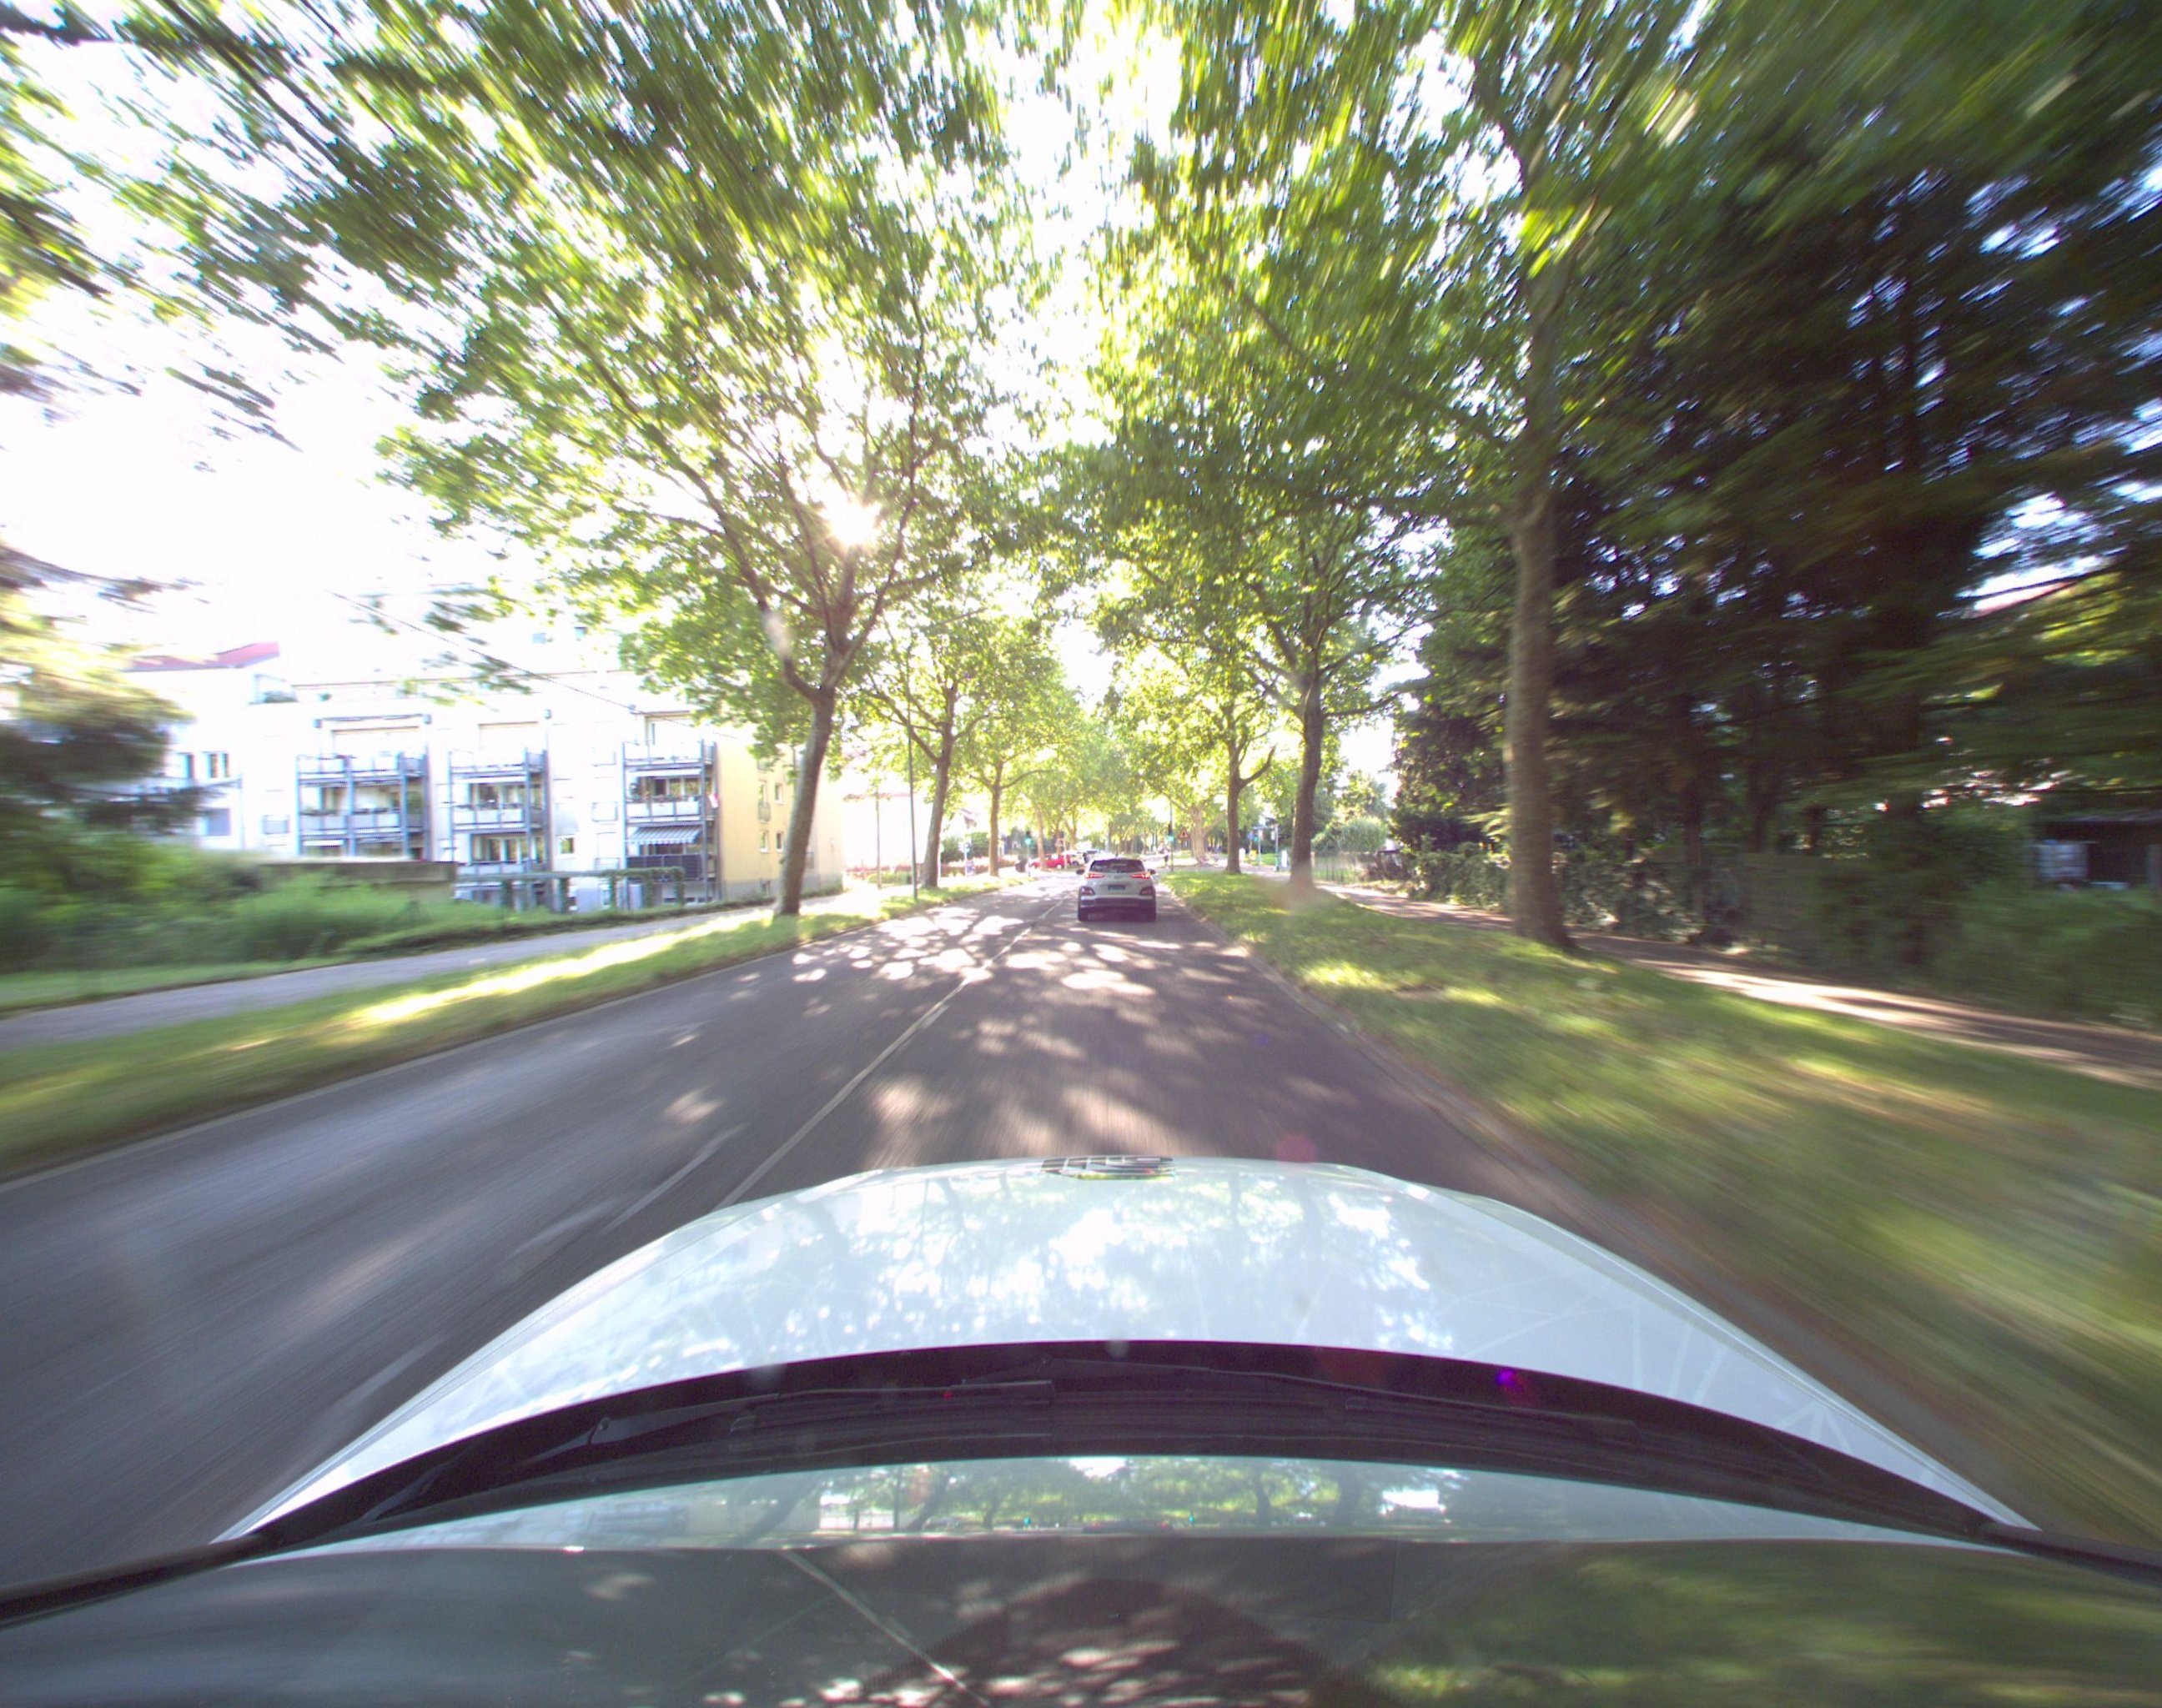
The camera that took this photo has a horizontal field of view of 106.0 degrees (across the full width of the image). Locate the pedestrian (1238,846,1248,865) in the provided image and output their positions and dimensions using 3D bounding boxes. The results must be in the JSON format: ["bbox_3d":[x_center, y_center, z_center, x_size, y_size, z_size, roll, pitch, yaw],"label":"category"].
[{"bbox_3d":[14.691,0.164,73.976,0.828,1.736,0.888,-1,-1,12],"label":"pedestrian"}]

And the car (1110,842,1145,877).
[{"bbox_3d":[2.819,0.327,49.920,1.986,2.014,4.001,-1,-1,2],"label":"car"}]

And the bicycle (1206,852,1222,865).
[{"bbox_3d":[12.028,0.394,73.691,0.604,1.183,2.107,0,-1,-16],"label":"bicycle"}]

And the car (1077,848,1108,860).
[{"bbox_3d":[1.559,0.035,109.535,3.969,1.478,2.002,-1,-1,4],"label":"car"}]

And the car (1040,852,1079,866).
[{"bbox_3d":[-2.317,0.558,87.610,3.969,1.478,2.002,-1,-1,4],"label":"car"}]

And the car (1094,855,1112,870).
[{"bbox_3d":[2.209,0.822,81.628,1.680,1.437,3.686,-1,1,4],"label":"car"}]

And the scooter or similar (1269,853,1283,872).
[{"bbox_3d":[13.014,0.570,54.305,0.547,1.258,2.316,-1,-1,5],"label":"scooter or similar"}]

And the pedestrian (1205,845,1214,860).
[{"bbox_3d":[17.695,-0.192,112.244,1.088,2.013,1.108,-1,0,10],"label":"pedestrian"}]

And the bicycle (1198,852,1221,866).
[{"bbox_3d":[11.466,0.445,72.477,0.608,1.164,2.125,0,-1,-40],"label":"bicycle"}]

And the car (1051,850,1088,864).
[{"bbox_3d":[-1.309,0.340,93.949,3.969,1.478,2.002,-1,-1,4],"label":"car"}]

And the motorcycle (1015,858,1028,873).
[{"bbox_3d":[-5.508,1.035,75.624,0.842,1.378,2.779,-1,-1,3],"label":"motorcycle"}]

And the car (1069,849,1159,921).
[{"bbox_3d":[0.846,0.700,20.183,1.985,1.574,4.003,-1,0,3],"label":"car"}]

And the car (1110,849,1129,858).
[{"bbox_3d":[8.100,-0.050,171.285,3.664,1.808,1.745,-1,0,-6],"label":"car"}]

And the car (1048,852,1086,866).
[{"bbox_3d":[-1.520,0.529,89.916,3.967,1.478,2.003,-1,-1,5],"label":"car"}]

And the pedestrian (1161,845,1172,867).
[{"bbox_3d":[7.839,0.156,74.717,0.862,2.014,0.816,-1,-1,11],"label":"pedestrian"}]

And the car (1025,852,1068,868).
[{"bbox_3d":[-3.382,0.605,80.124,3.969,1.478,2.002,-1,-1,4],"label":"car"}]
